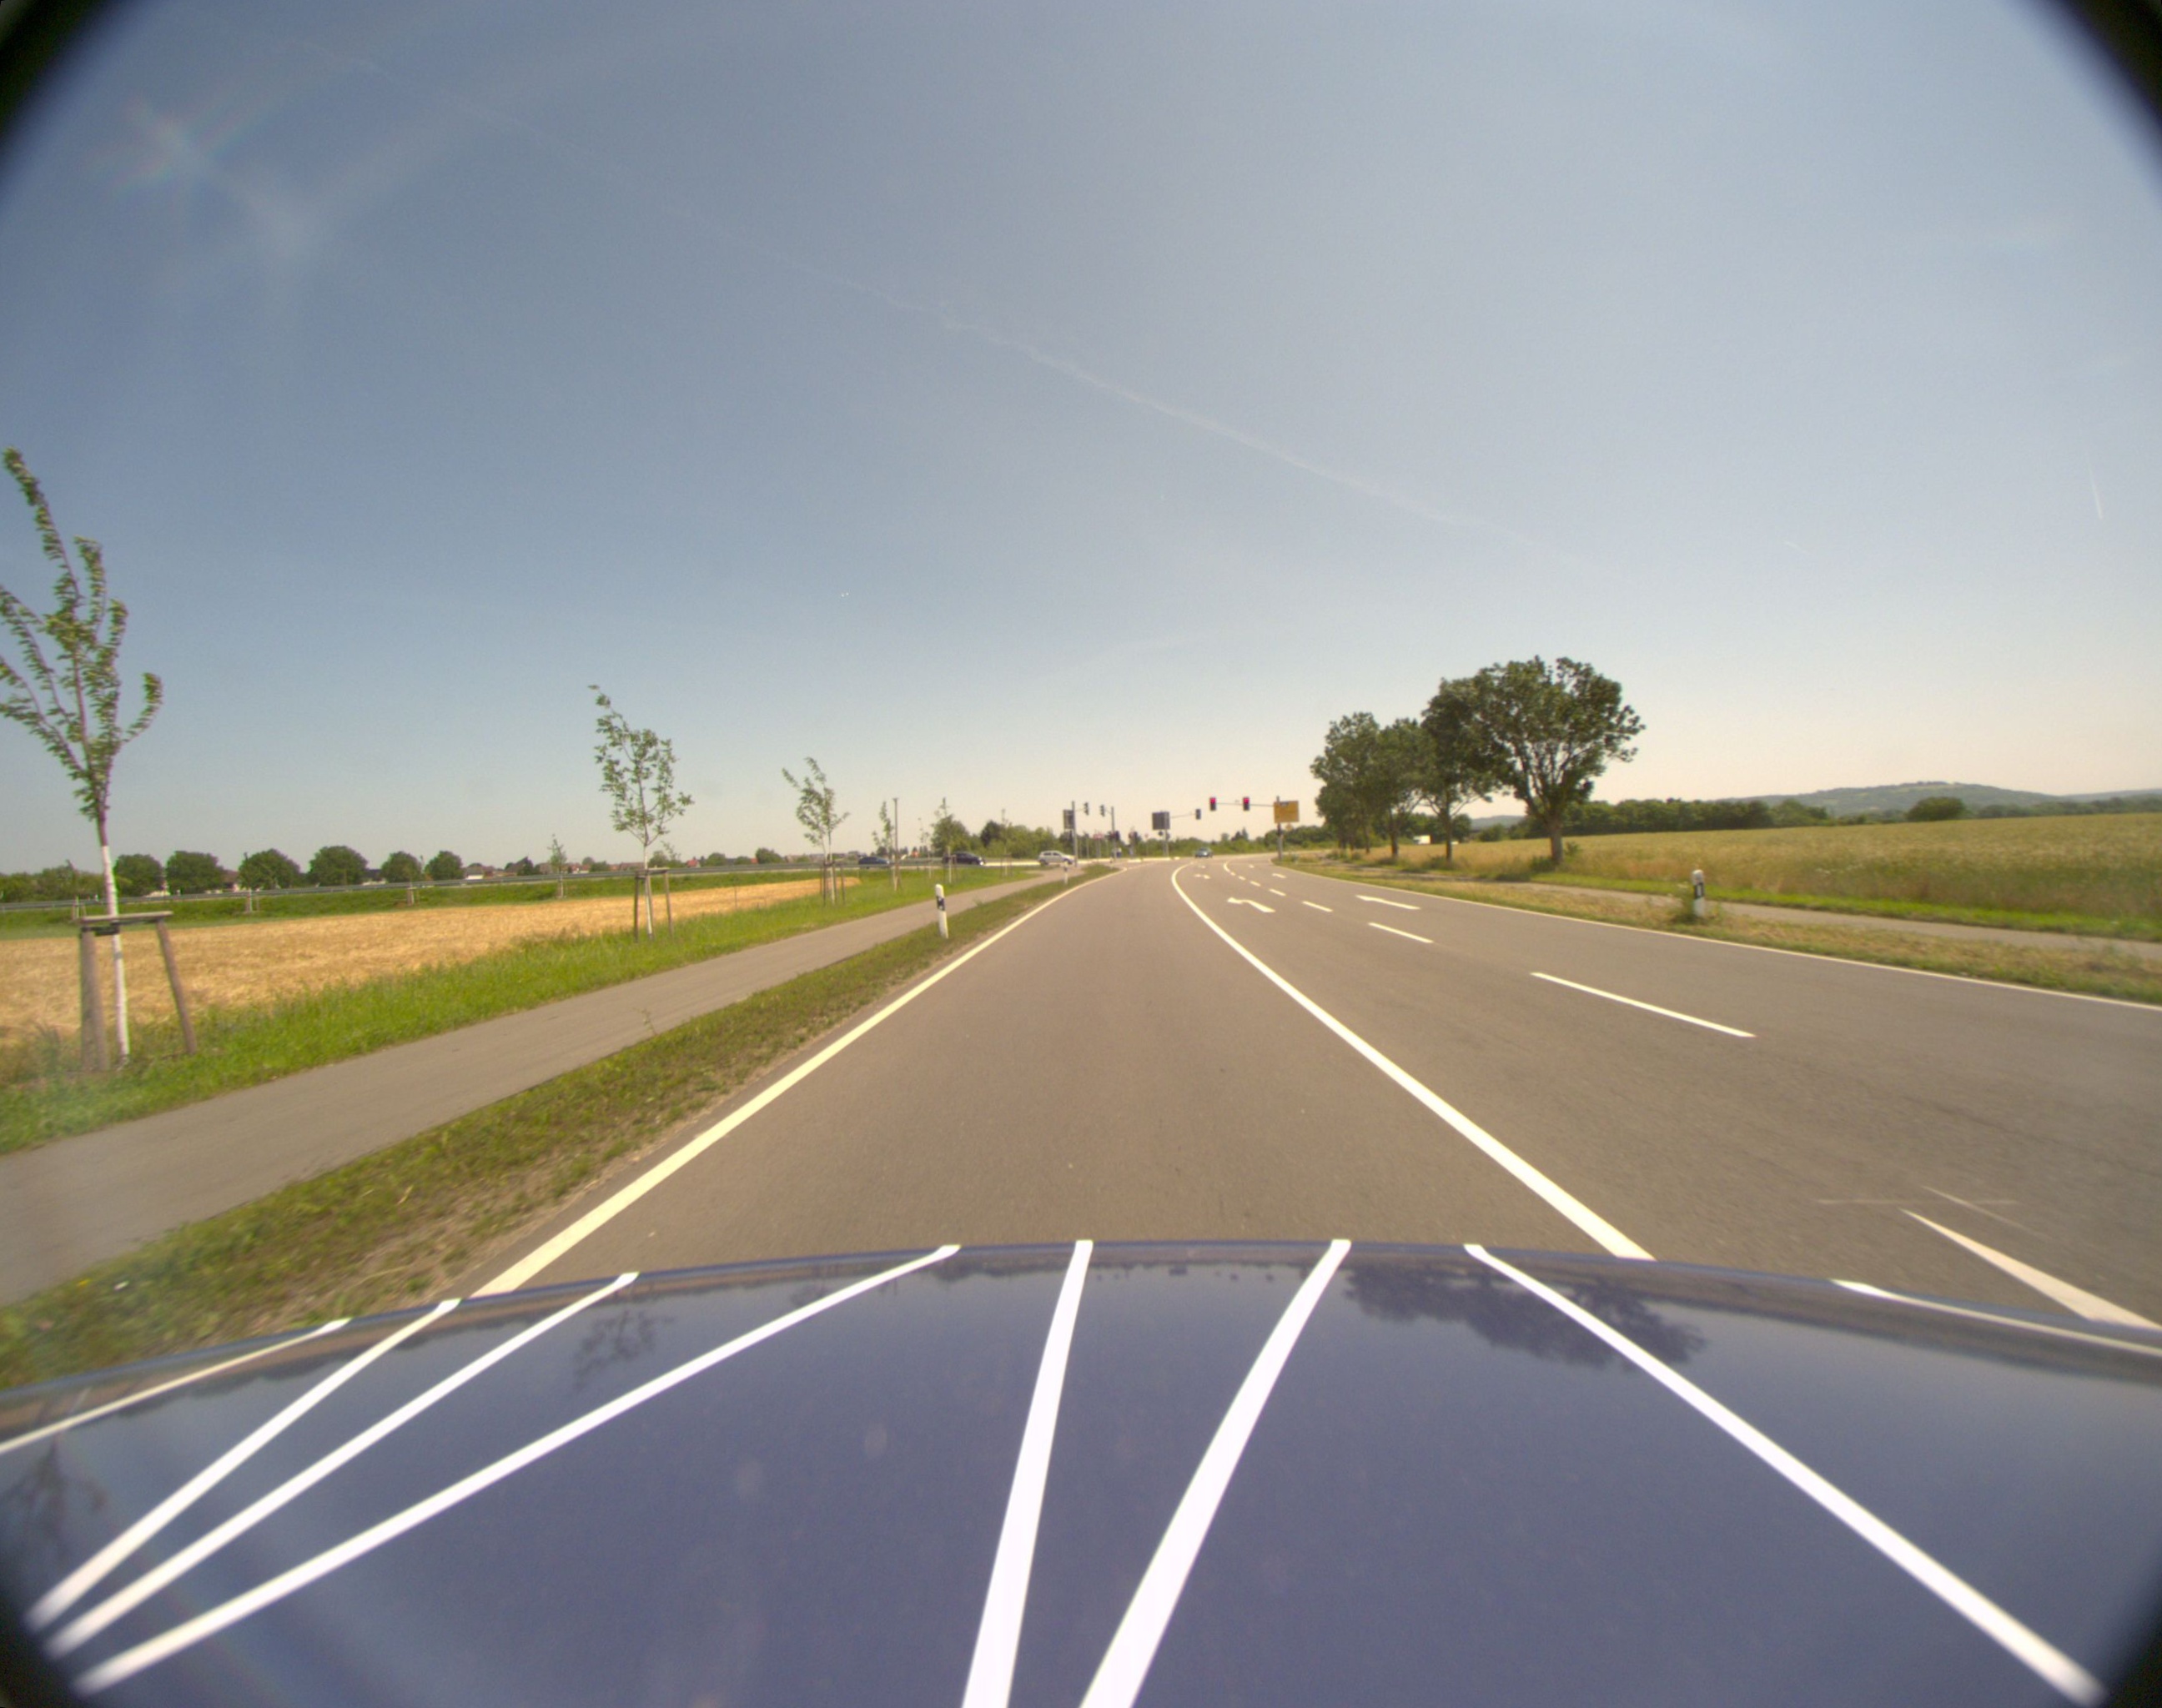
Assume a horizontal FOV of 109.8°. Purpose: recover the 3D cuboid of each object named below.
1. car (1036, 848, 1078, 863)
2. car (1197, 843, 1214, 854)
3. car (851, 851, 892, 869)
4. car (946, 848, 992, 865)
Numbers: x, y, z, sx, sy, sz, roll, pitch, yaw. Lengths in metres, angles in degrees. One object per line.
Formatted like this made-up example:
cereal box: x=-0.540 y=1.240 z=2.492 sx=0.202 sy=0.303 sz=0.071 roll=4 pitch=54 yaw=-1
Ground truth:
car: x=-2.513 y=0.133 z=80.671 sx=4.145 sy=1.451 sz=1.662 roll=-2 pitch=1 yaw=12
car: x=17.071 y=-0.764 z=104.075 sx=1.654 sy=1.557 sz=4.005 roll=-1 pitch=1 yaw=20
car: x=-23.338 y=0.686 z=84.576 sx=3.916 sy=1.798 sz=1.920 roll=-3 pitch=1 yaw=2
car: x=-12.183 y=0.284 z=82.824 sx=4.519 sy=1.631 sz=1.815 roll=-1 pitch=2 yaw=12
